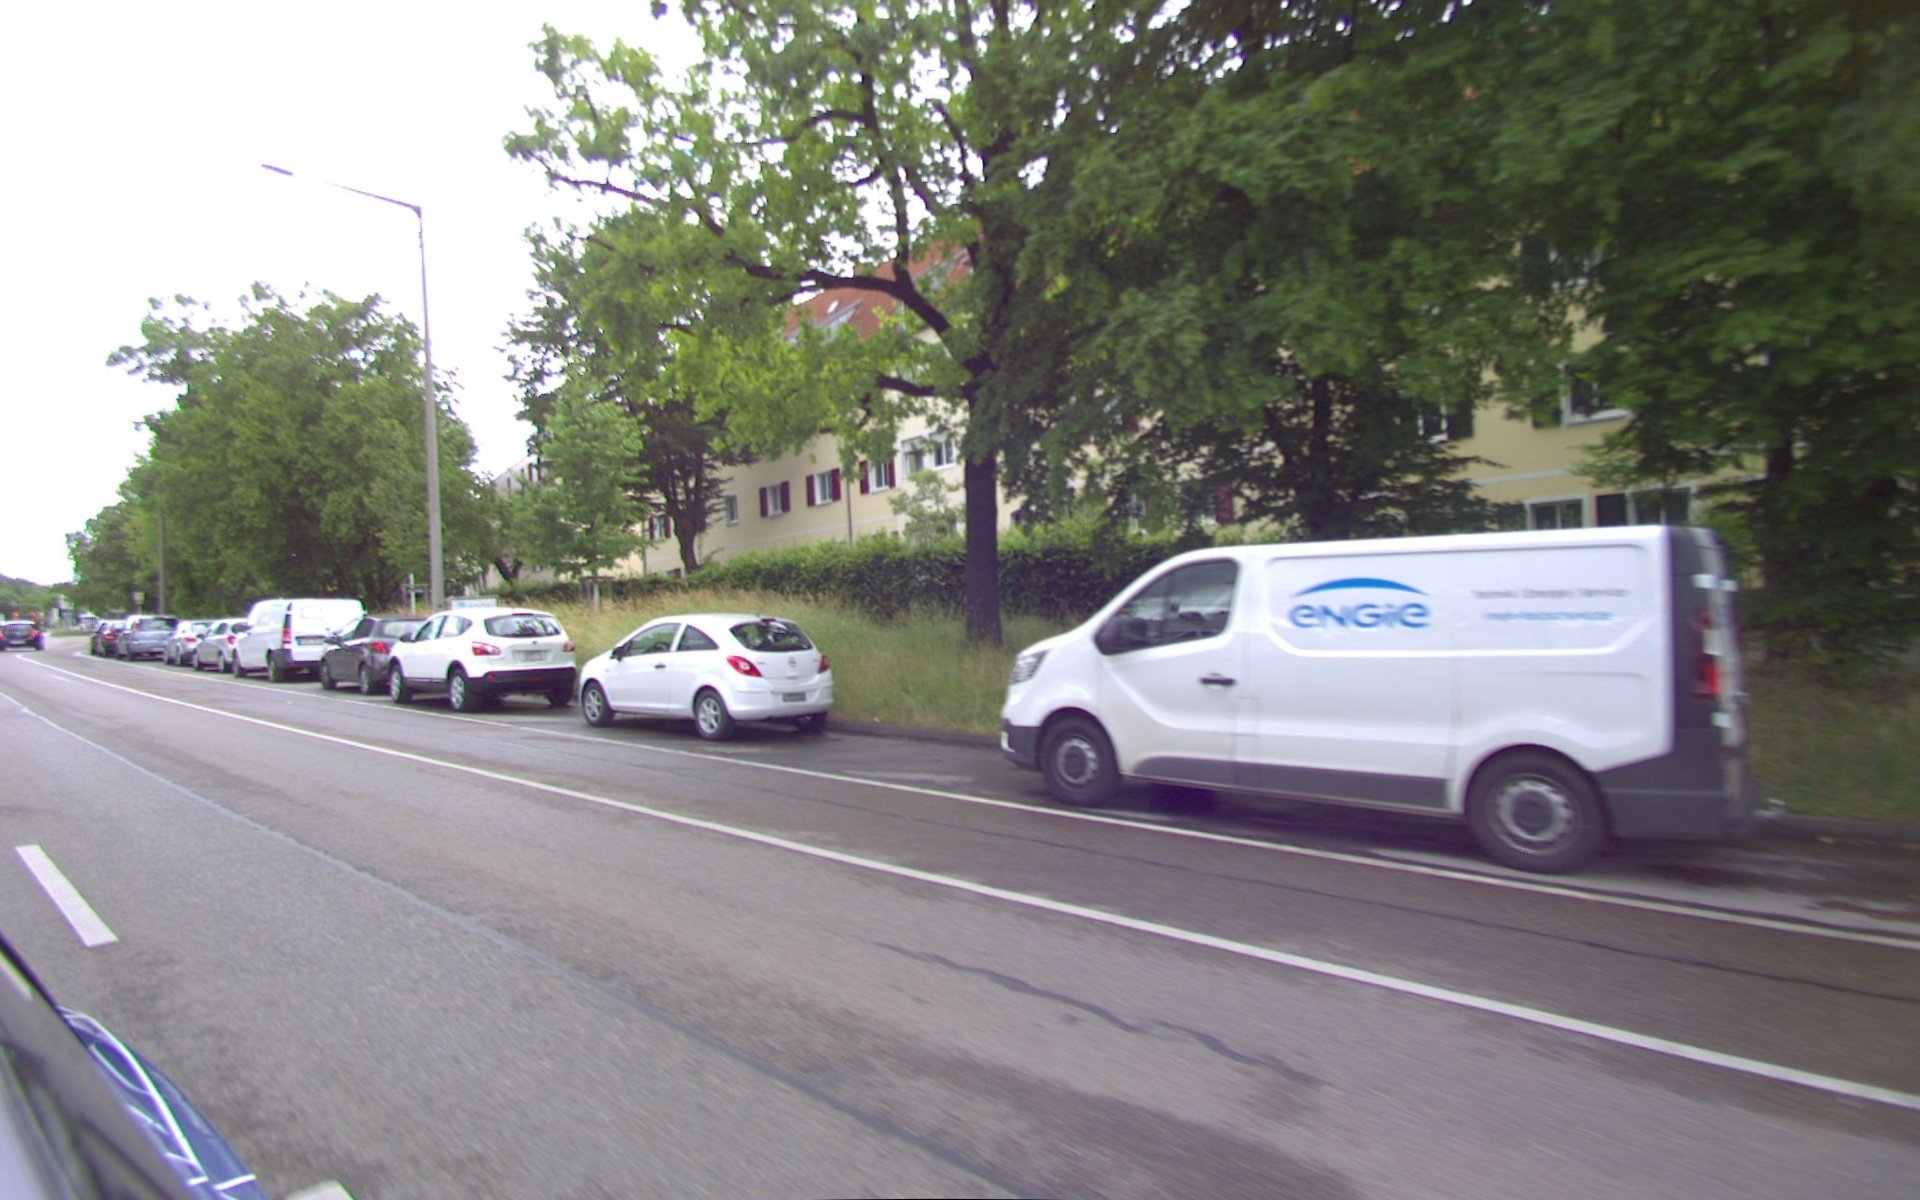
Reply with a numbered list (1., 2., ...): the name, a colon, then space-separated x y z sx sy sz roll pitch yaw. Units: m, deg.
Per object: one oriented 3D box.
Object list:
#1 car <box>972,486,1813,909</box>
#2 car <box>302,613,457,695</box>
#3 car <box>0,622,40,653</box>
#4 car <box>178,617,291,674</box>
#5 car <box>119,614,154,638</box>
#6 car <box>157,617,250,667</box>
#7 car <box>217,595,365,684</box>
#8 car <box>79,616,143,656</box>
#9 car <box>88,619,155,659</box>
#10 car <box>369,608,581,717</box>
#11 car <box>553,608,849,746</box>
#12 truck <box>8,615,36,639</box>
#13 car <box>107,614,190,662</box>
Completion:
1. car: 2.629 0.490 7.136 5.124 1.978 1.847 -1 -1 41
2. car: -11.783 1.030 20.445 4.046 1.499 1.654 -1 -2 44
3. car: -46.889 1.814 50.192 1.616 1.478 4.007 1 -1 -39
4. car: -20.561 1.262 28.624 3.946 1.444 1.619 -2 0 39
5. car: -61.085 1.887 75.107 1.851 1.679 4.400 -2 1 -38
6. car: -24.363 1.331 32.536 4.359 1.507 1.748 -2 -2 45
7. car: -16.410 0.928 24.699 5.153 1.945 1.749 -2 0 42
8. car: -36.489 1.495 43.451 1.853 1.582 4.655 -1 0 -43
9. car: -33.201 1.534 40.043 1.747 1.458 4.152 0 -1 -44
10. car: -8.142 0.947 16.811 4.280 1.576 1.655 -1 -1 42
11. car: -3.445 0.874 13.053 4.087 1.490 1.645 -1 0 40
12. truck: -141.876 4.149 153.097 2.790 3.507 7.834 0 -1 -41
13. car: -29.378 1.366 36.579 4.134 1.604 1.749 -2 -1 43
